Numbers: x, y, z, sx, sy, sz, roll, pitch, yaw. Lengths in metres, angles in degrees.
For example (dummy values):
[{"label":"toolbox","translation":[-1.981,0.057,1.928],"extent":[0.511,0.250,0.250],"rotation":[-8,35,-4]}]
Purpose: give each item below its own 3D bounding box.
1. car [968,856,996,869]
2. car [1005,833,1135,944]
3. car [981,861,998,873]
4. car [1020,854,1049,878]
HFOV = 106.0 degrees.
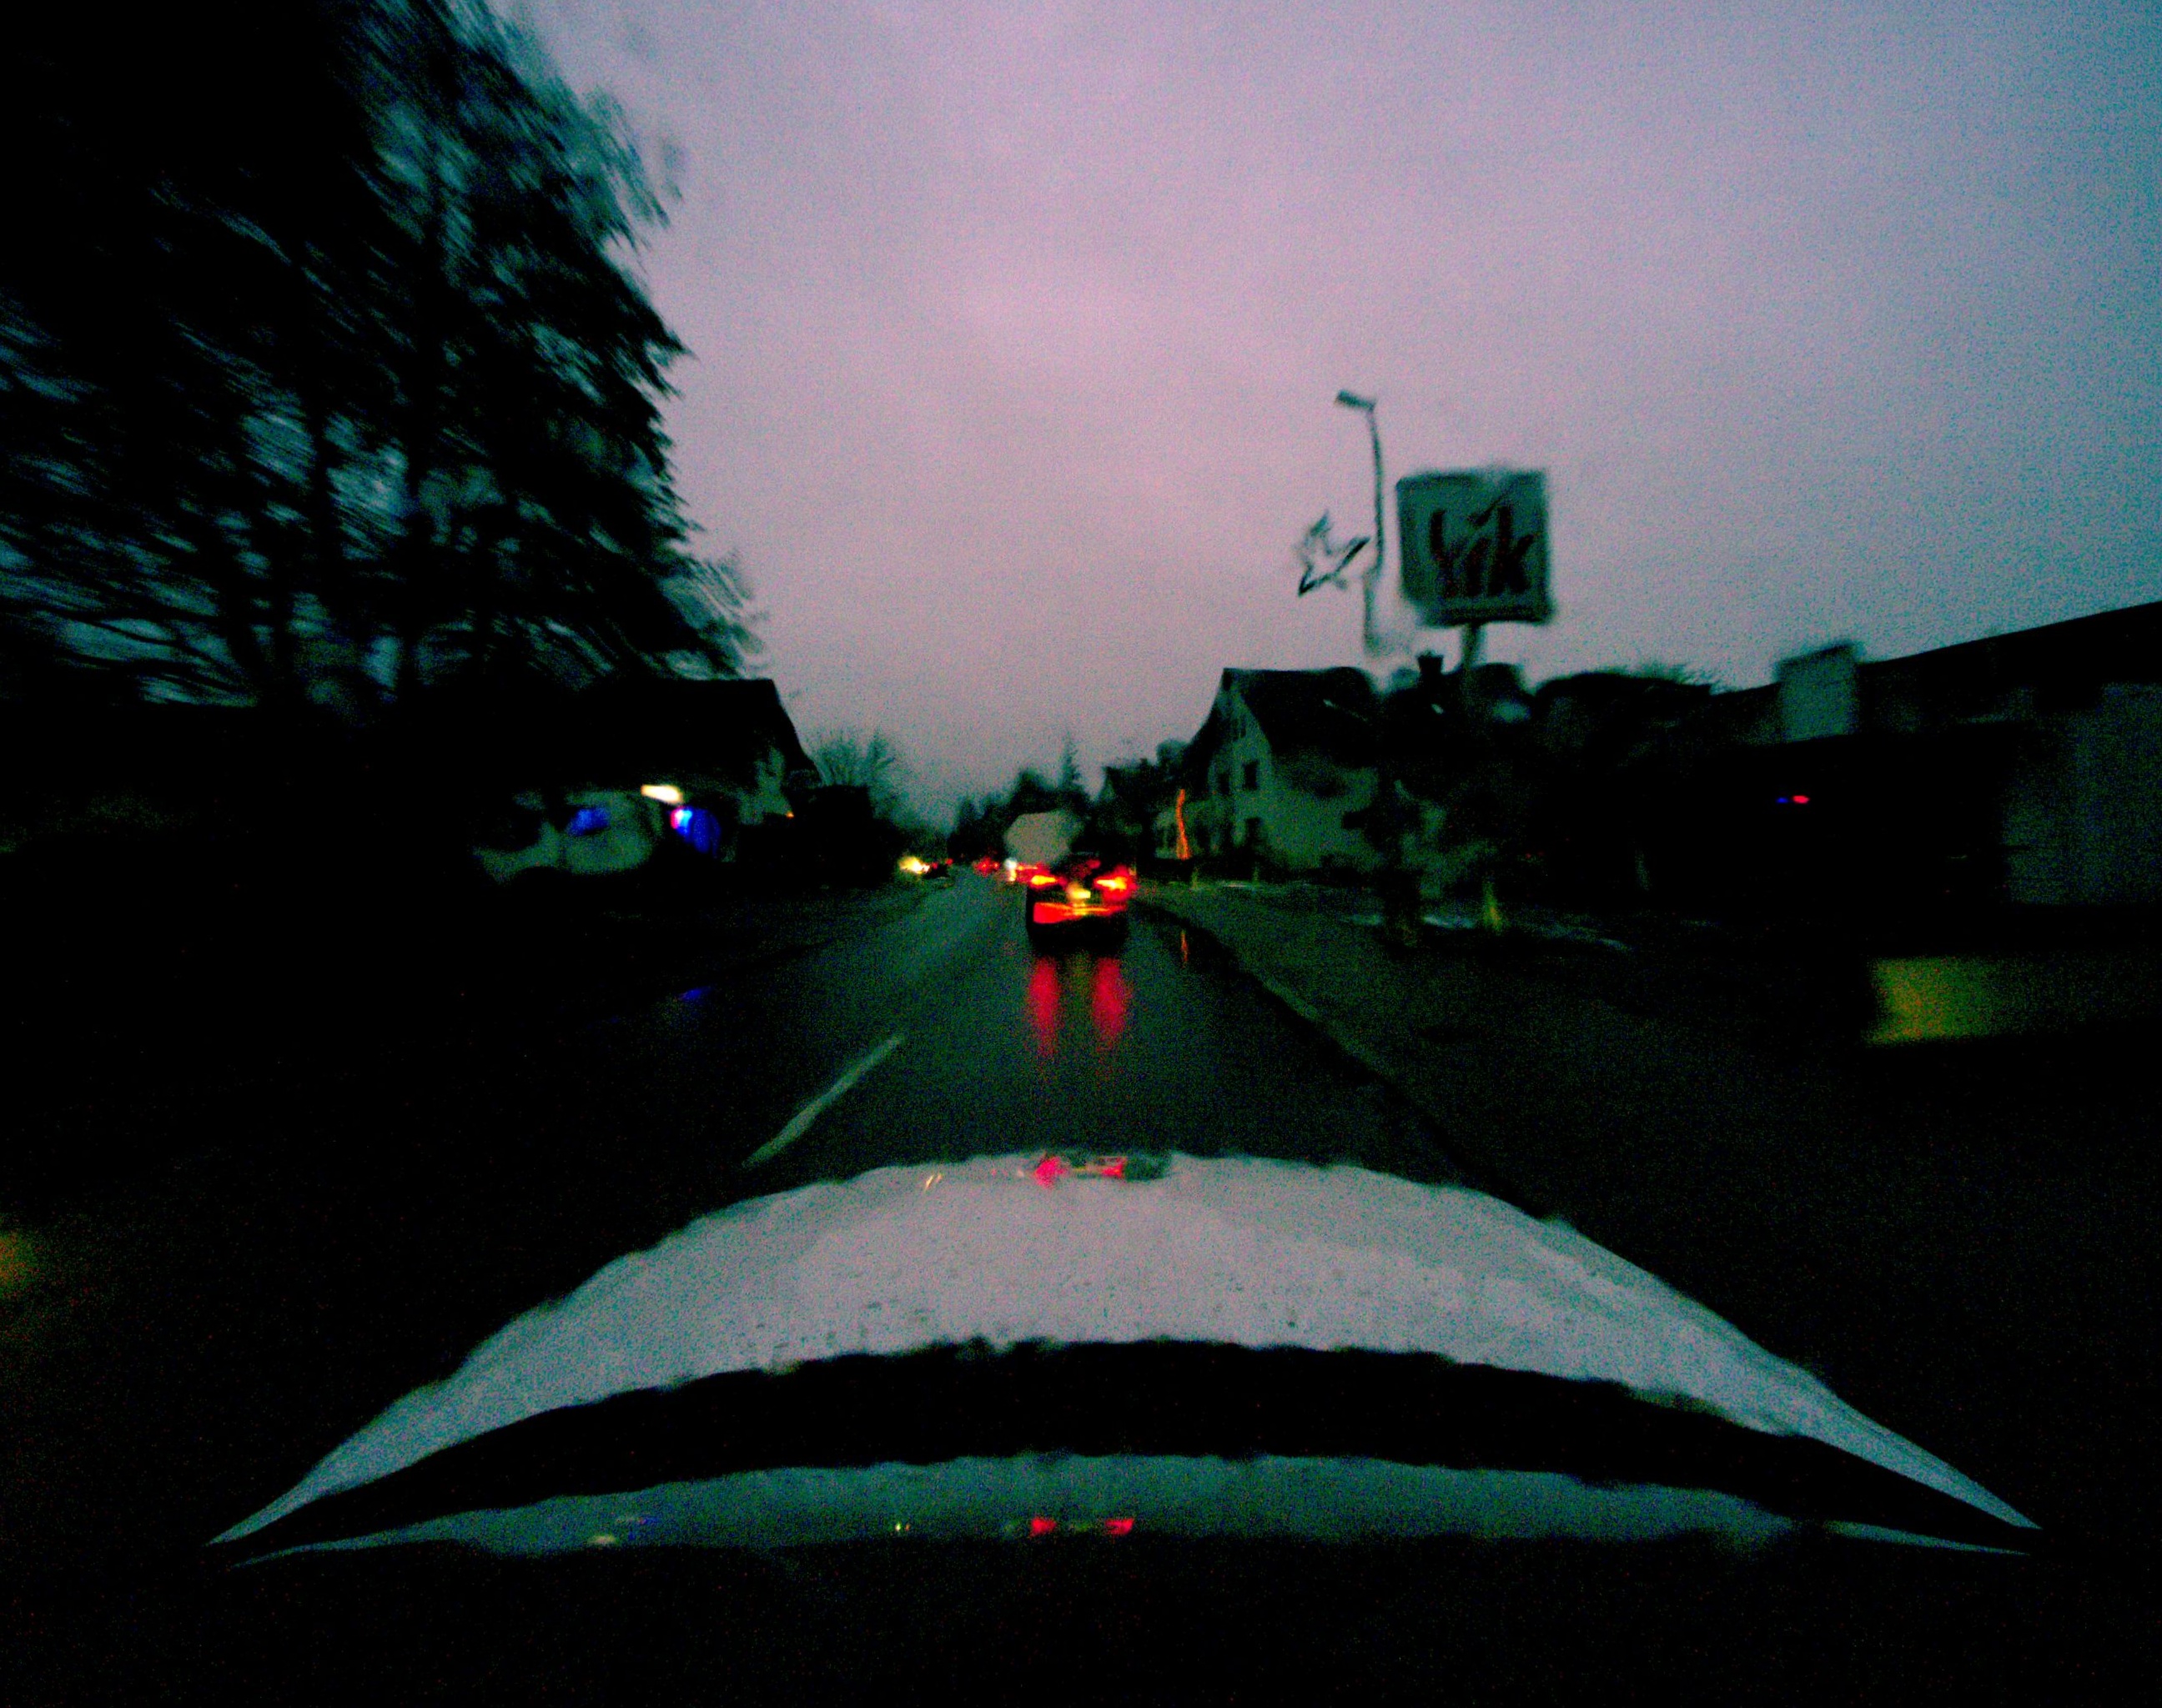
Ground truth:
[{"label":"car","translation":[-16.252,1.430,133.632],"extent":[4.250,2.013,1.803],"rotation":[-2,0,-12]},{"label":"car","translation":[-0.174,0.651,17.352],"extent":[2.302,1.938,5.018],"rotation":[-2,-1,0]},{"label":"car","translation":[-11.065,1.526,98.005],"extent":[1.841,1.331,3.926],"rotation":[-2,0,-8]},{"label":"car","translation":[-4.187,1.086,72.369],"extent":[2.307,1.938,5.007],"rotation":[-2,-1,-6]}]
